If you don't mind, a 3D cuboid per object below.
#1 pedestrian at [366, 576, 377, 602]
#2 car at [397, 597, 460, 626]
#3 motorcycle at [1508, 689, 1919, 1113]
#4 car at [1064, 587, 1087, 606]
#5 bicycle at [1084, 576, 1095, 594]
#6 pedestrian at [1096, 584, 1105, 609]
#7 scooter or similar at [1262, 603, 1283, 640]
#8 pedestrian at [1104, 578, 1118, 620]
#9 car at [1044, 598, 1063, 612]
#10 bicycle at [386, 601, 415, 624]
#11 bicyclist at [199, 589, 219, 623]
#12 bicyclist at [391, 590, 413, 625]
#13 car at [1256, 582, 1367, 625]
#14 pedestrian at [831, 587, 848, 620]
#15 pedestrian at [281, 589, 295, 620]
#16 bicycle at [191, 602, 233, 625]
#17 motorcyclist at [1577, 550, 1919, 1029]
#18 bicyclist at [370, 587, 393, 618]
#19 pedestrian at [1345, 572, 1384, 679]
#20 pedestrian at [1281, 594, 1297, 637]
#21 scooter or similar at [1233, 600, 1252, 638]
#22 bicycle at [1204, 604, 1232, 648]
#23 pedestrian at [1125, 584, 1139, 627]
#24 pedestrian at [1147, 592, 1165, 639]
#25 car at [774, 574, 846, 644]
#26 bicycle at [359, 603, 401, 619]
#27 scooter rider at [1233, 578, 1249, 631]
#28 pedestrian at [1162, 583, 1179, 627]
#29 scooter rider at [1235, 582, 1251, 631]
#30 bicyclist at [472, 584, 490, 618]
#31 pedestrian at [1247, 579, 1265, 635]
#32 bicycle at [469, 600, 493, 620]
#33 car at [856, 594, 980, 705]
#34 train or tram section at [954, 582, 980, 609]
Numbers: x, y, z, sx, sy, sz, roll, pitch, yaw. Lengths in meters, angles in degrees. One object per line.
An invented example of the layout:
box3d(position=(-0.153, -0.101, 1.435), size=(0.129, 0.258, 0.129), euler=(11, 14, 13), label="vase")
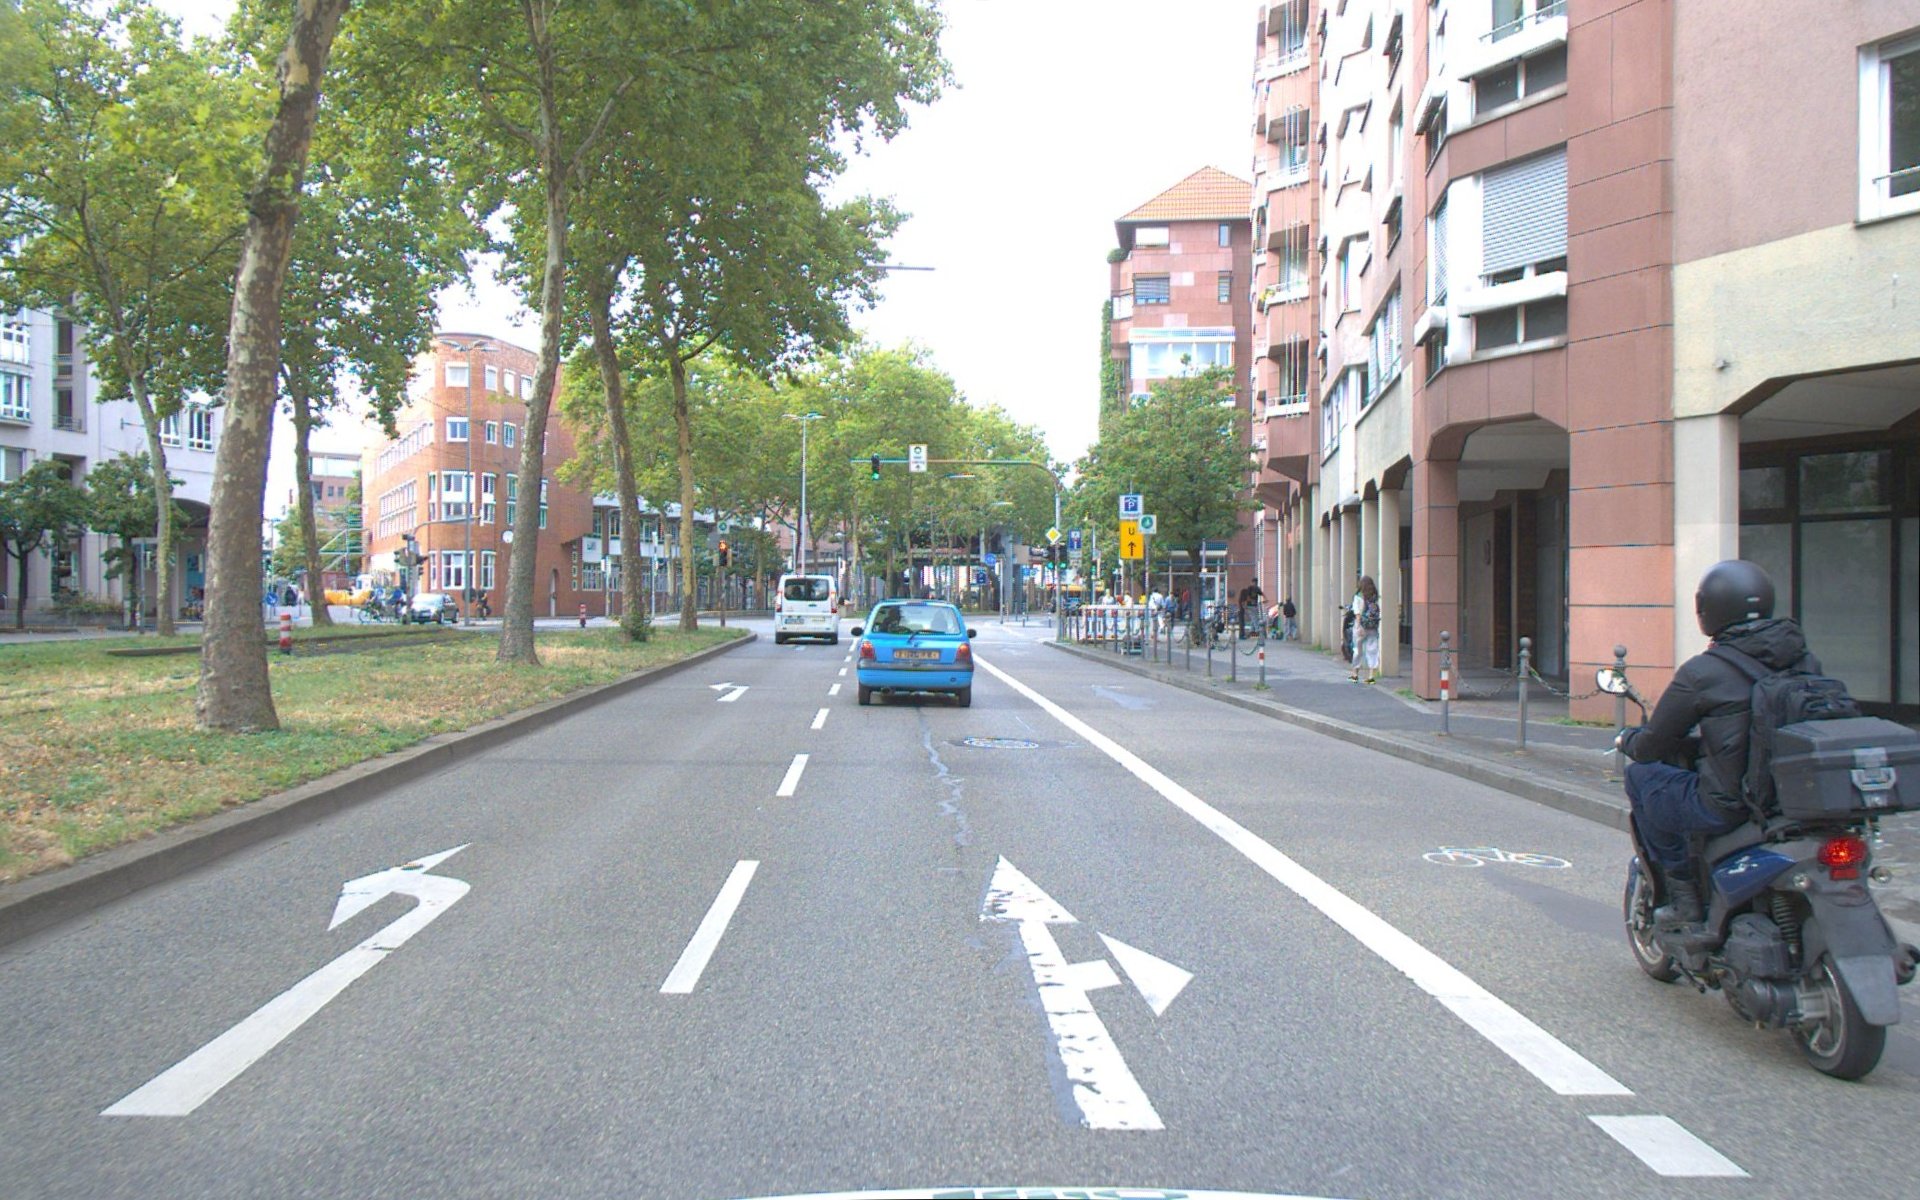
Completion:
box3d(position=(-42.071, -0.750, 118.207), size=(0.685, 1.849, 0.649), euler=(0, 0, -29), label="pedestrian")
box3d(position=(-24.316, 0.504, 75.805), size=(1.695, 1.267, 4.531), euler=(0, 0, -3), label="car")
box3d(position=(2.784, 0.944, 5.983), size=(0.752, 1.126, 2.206), euler=(0, 0, -3), label="motorcycle")
box3d(position=(10.215, -0.348, 145.609), size=(1.662, 1.629, 4.003), euler=(0, 0, 9), label="car")
box3d(position=(7.409, -0.869, 94.780), size=(0.604, 1.026, 1.736), euler=(0, 0, 3), label="bicycle")
box3d(position=(10.718, -0.293, 126.230), size=(0.633, 1.891, 0.783), euler=(0, 0, 7), label="pedestrian")
box3d(position=(10.192, 0.688, 53.977), size=(0.542, 1.190, 1.407), euler=(0, 0, 6), label="scooter or similar")
box3d(position=(5.899, -0.030, 64.595), size=(0.506, 1.644, 0.851), euler=(0, 0, 2), label="pedestrian")
box3d(position=(11.339, 0.625, 200.929), size=(1.846, 1.652, 4.003), euler=(0, 0, 9), label="car")
box3d(position=(-27.434, 0.609, 81.100), size=(0.676, 1.111, 1.878), euler=(0, 0, 4), label="bicycle")
box3d(position=(-37.432, 0.283, 82.431), size=(0.777, 1.702, 0.566), euler=(0, 0, -39), label="bicyclist")
box3d(position=(-27.419, 0.361, 81.264), size=(0.675, 1.702, 0.953), euler=(0, 0, 4), label="bicyclist")
box3d(position=(15.568, 0.162, 73.493), size=(4.723, 1.857, 2.001), euler=(0, -2, 9), label="car")
box3d(position=(-6.363, 0.190, 87.680), size=(0.541, 1.748, 0.890), euler=(0, 0, 24), label="pedestrian")
box3d(position=(-43.508, 0.309, 107.017), size=(0.781, 1.998, 0.798), euler=(0, 0, -27), label="pedestrian")
box3d(position=(-37.322, 0.669, 82.519), size=(1.859, 1.111, 0.569), euler=(0, 0, -40), label="bicycle")
box3d(position=(2.781, 0.612, 5.887), size=(0.744, 1.546, 1.017), euler=(0, 0, -3), label="motorcyclist")
box3d(position=(-30.025, 0.110, 85.835), size=(1.024, 1.590, 0.574), euler=(0, 0, -40), label="bicyclist")
box3d(position=(6.470, 0.394, 26.469), size=(0.532, 1.678, 0.826), euler=(0, 0, 8), label="pedestrian")
box3d(position=(10.193, 0.477, 51.236), size=(0.476, 1.347, 0.485), euler=(0, 0, 11), label="pedestrian")
box3d(position=(9.232, 0.599, 54.064), size=(0.464, 1.227, 1.331), euler=(0, 0, 3), label="scooter or similar")
box3d(position=(6.856, 0.687, 43.985), size=(0.599, 1.137, 1.805), euler=(0, 0, 5), label="bicycle")
box3d(position=(6.682, 0.201, 64.352), size=(0.506, 1.644, 0.851), euler=(0, 0, 4), label="pedestrian")
box3d(position=(7.723, 0.601, 65.083), size=(0.662, 1.860, 0.851), euler=(0, 0, 4), label="pedestrian")
box3d(position=(-4.370, 0.225, 48.821), size=(1.893, 1.959, 4.953), euler=(0, 1, -3), label="car")
box3d(position=(-30.083, 0.559, 85.765), size=(1.969, 0.850, 0.571), euler=(0, 0, -40), label="bicycle")
box3d(position=(9.242, 0.142, 54.405), size=(0.453, 1.750, 0.553), euler=(0, 0, 1), label="scooter rider")
box3d(position=(8.304, 0.201, 65.224), size=(0.638, 1.730, 1.022), euler=(0, 0, 5), label="pedestrian")
box3d(position=(9.207, 0.217, 53.813), size=(0.451, 1.584, 0.565), euler=(0, 0, 2), label="scooter rider")
box3d(position=(-27.287, 0.049, 94.278), size=(0.653, 1.880, 1.081), euler=(-1, 0, 2), label="bicyclist")
box3d(position=(9.710, 0.230, 54.295), size=(0.540, 1.831, 0.658), euler=(0, 0, 8), label="pedestrian")
box3d(position=(-27.277, 0.563, 94.241), size=(0.663, 1.112, 2.210), euler=(-1, 0, 2), label="bicycle")
box3d(position=(-0.619, 0.638, 23.462), size=(1.607, 1.410, 3.841), euler=(1, 0, -2), label="car")
box3d(position=(0.899, -0.515, 202.642), size=(2.338, 3.311, 8.823), euler=(0, 0, 5), label="train or tram section")
